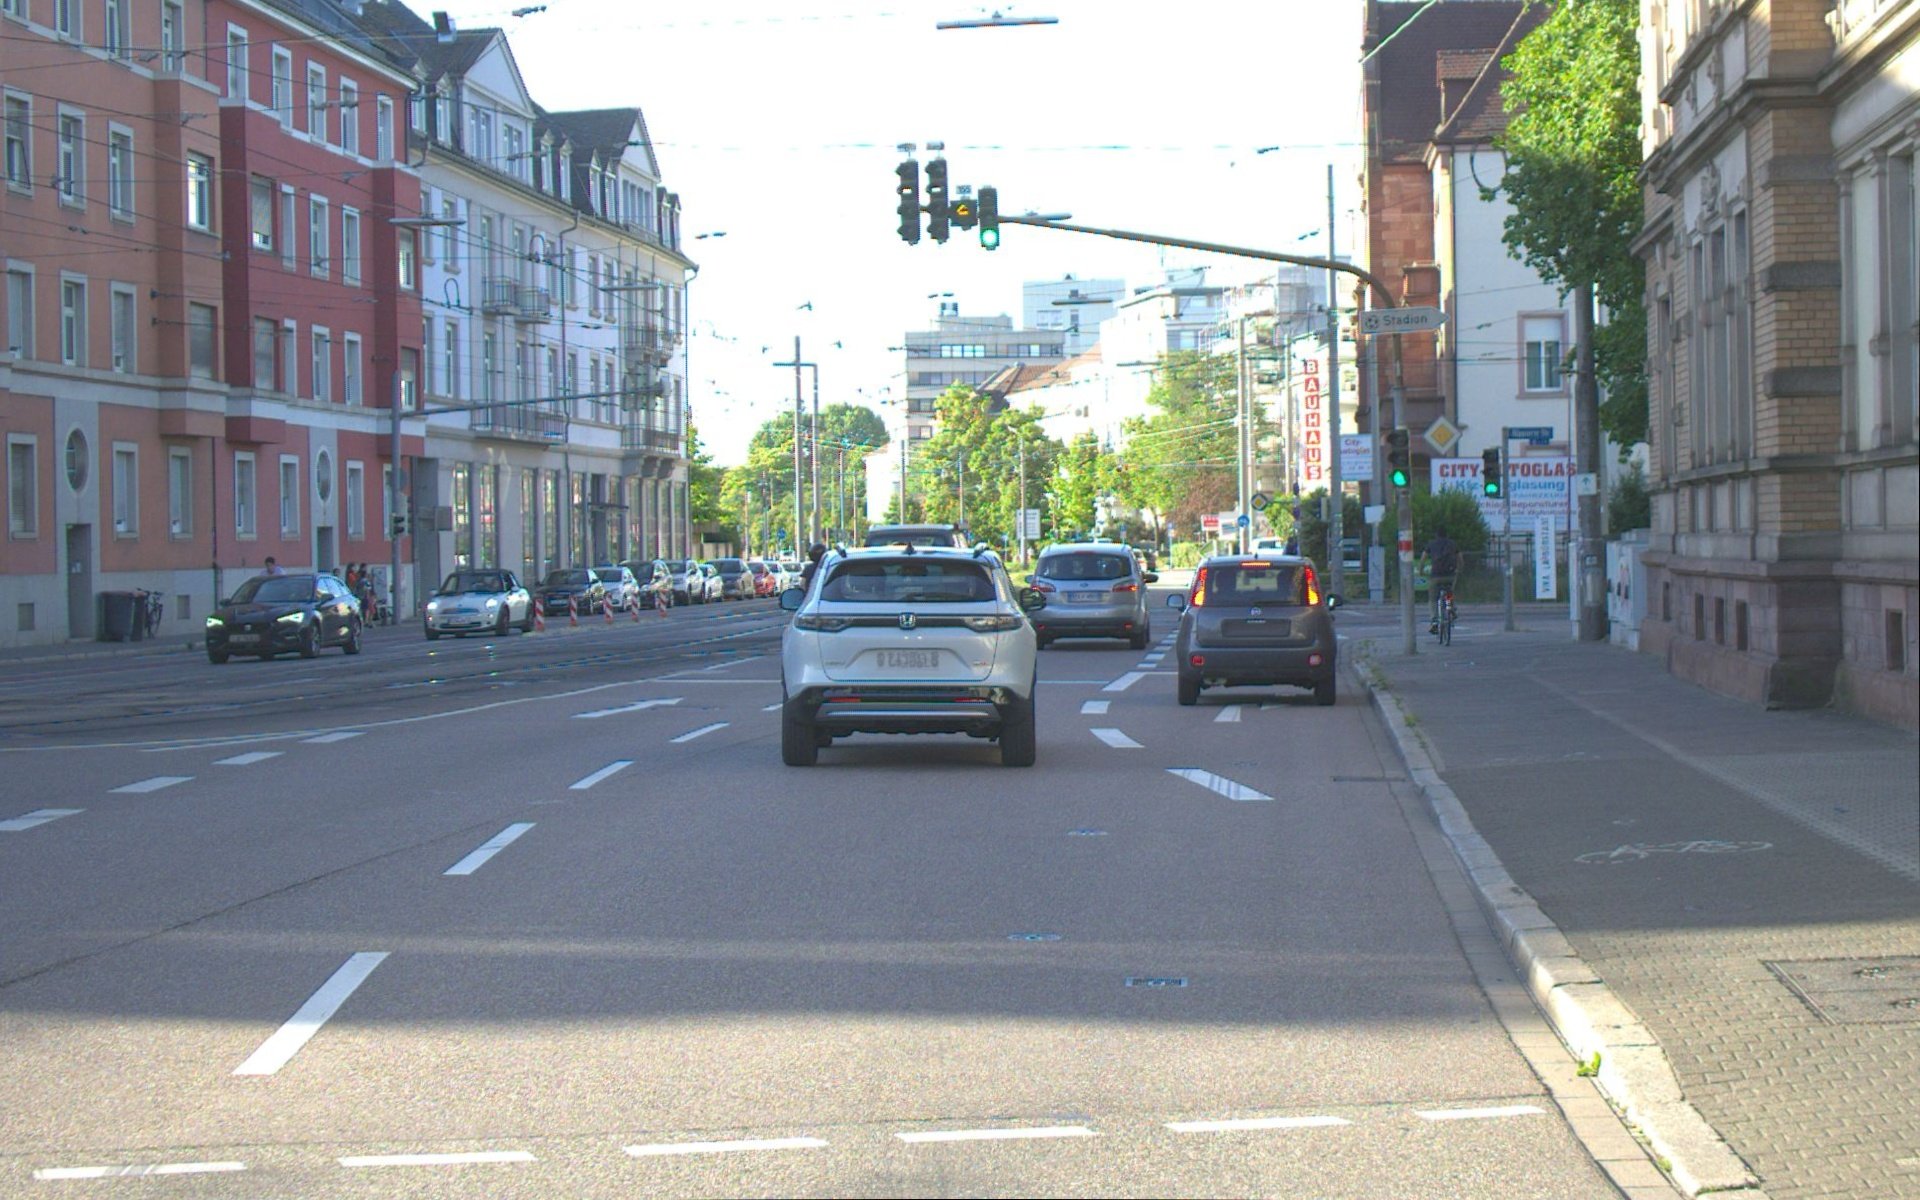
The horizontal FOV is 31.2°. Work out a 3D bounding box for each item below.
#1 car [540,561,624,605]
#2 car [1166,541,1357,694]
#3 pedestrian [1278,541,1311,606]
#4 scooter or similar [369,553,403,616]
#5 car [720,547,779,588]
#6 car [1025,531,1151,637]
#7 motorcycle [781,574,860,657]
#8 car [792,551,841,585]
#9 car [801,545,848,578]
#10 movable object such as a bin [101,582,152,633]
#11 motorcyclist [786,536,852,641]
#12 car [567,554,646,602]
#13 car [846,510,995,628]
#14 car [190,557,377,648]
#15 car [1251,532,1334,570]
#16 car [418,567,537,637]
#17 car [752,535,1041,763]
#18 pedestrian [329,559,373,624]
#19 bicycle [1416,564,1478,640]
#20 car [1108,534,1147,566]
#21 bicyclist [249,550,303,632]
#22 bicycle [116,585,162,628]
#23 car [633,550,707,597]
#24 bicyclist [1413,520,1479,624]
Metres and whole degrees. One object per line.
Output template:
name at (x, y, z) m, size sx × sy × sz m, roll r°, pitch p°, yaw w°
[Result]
car at (-11.395, -0.533, 103.944) m, size 1.719 × 1.228 × 3.999 m, roll -1°, pitch 1°, yaw 6°
car at (3.220, 0.140, 36.104) m, size 1.731 × 1.495 × 3.999 m, roll 0°, pitch 1°, yaw 9°
pedestrian at (9.463, -0.761, 97.234) m, size 0.876 × 1.818 × 1.184 m, roll 0°, pitch 1°, yaw 7°
scooter or similar at (-14.877, -0.399, 89.062) m, size 0.652 × 1.627 × 0.795 m, roll -1°, pitch 1°, yaw -27°
car at (-8.409, -1.313, 137.438) m, size 1.719 × 1.546 × 3.999 m, roll -1°, pitch 1°, yaw 6°
car at (2.060, -0.266, 54.217) m, size 1.814 × 1.576 × 4.000 m, roll -1°, pitch 1°, yaw 4°
motorcycle at (-1.921, 0.201, 47.683) m, size 0.777 × 1.078 × 2.281 m, roll -1°, pitch 1°, yaw 5°
car at (-6.723, -1.513, 161.102) m, size 1.719 × 1.546 × 3.999 m, roll -1°, pitch 1°, yaw 6°
car at (-6.567, -1.885, 167.124) m, size 1.719 × 1.546 × 3.999 m, roll -1°, pitch 1°, yaw 6°
movable object such as a bin at (-17.324, 0.159, 71.461) m, size 0.843 × 1.037 × 0.811 m, roll -1°, pitch 1°, yaw 1°
motorcyclist at (-1.943, -0.164, 47.532) m, size 0.777 × 1.418 × 0.891 m, roll -1°, pitch 1°, yaw 5°
car at (-11.237, -0.721, 109.537) m, size 1.719 × 1.447 × 3.999 m, roll -1°, pitch 1°, yaw 6°
car at (-0.659, -0.573, 61.916) m, size 2.172 × 2.002 × 4.807 m, roll -1°, pitch 1°, yaw 5°
car at (-11.416, 0.011, 58.312) m, size 1.922 × 1.450 × 4.497 m, roll -1°, pitch 1°, yaw 5°
car at (18.112, -2.665, 187.344) m, size 4.258 × 2.007 × 2.000 m, roll -1°, pitch 1°, yaw -3°
car at (-10.032, 0.028, 71.693) m, size 1.726 × 1.370 × 3.534 m, roll -1°, pitch 1°, yaw 4°
car at (-0.388, 0.294, 25.301) m, size 1.947 × 1.523 × 4.090 m, roll 0°, pitch 1°, yaw 1°
pedestrian at (-15.469, -0.229, 87.350) m, size 0.828 × 1.627 × 0.795 m, roll -1°, pitch 1°, yaw -32°
bicycle at (7.143, 0.018, 50.475) m, size 0.771 × 1.082 × 1.871 m, roll -1°, pitch 1°, yaw 4°
car at (8.986, -2.695, 184.274) m, size 1.994 × 1.656 × 4.497 m, roll -1°, pitch 1°, yaw 4°
bicyclist at (-13.851, -0.186, 69.609) m, size 0.746 × 1.637 × 1.126 m, roll -1°, pitch 1°, yaw 6°
bicycle at (-17.403, 0.130, 72.907) m, size 0.334 × 0.887 × 1.604 m, roll -1°, pitch 1°, yaw 10°
car at (-10.203, -0.952, 121.215) m, size 1.835 × 1.546 × 4.273 m, roll -1°, pitch 1°, yaw 6°
bicyclist at (7.150, -0.415, 50.545) m, size 0.834 × 1.520 × 0.993 m, roll 0°, pitch 1°, yaw 16°
